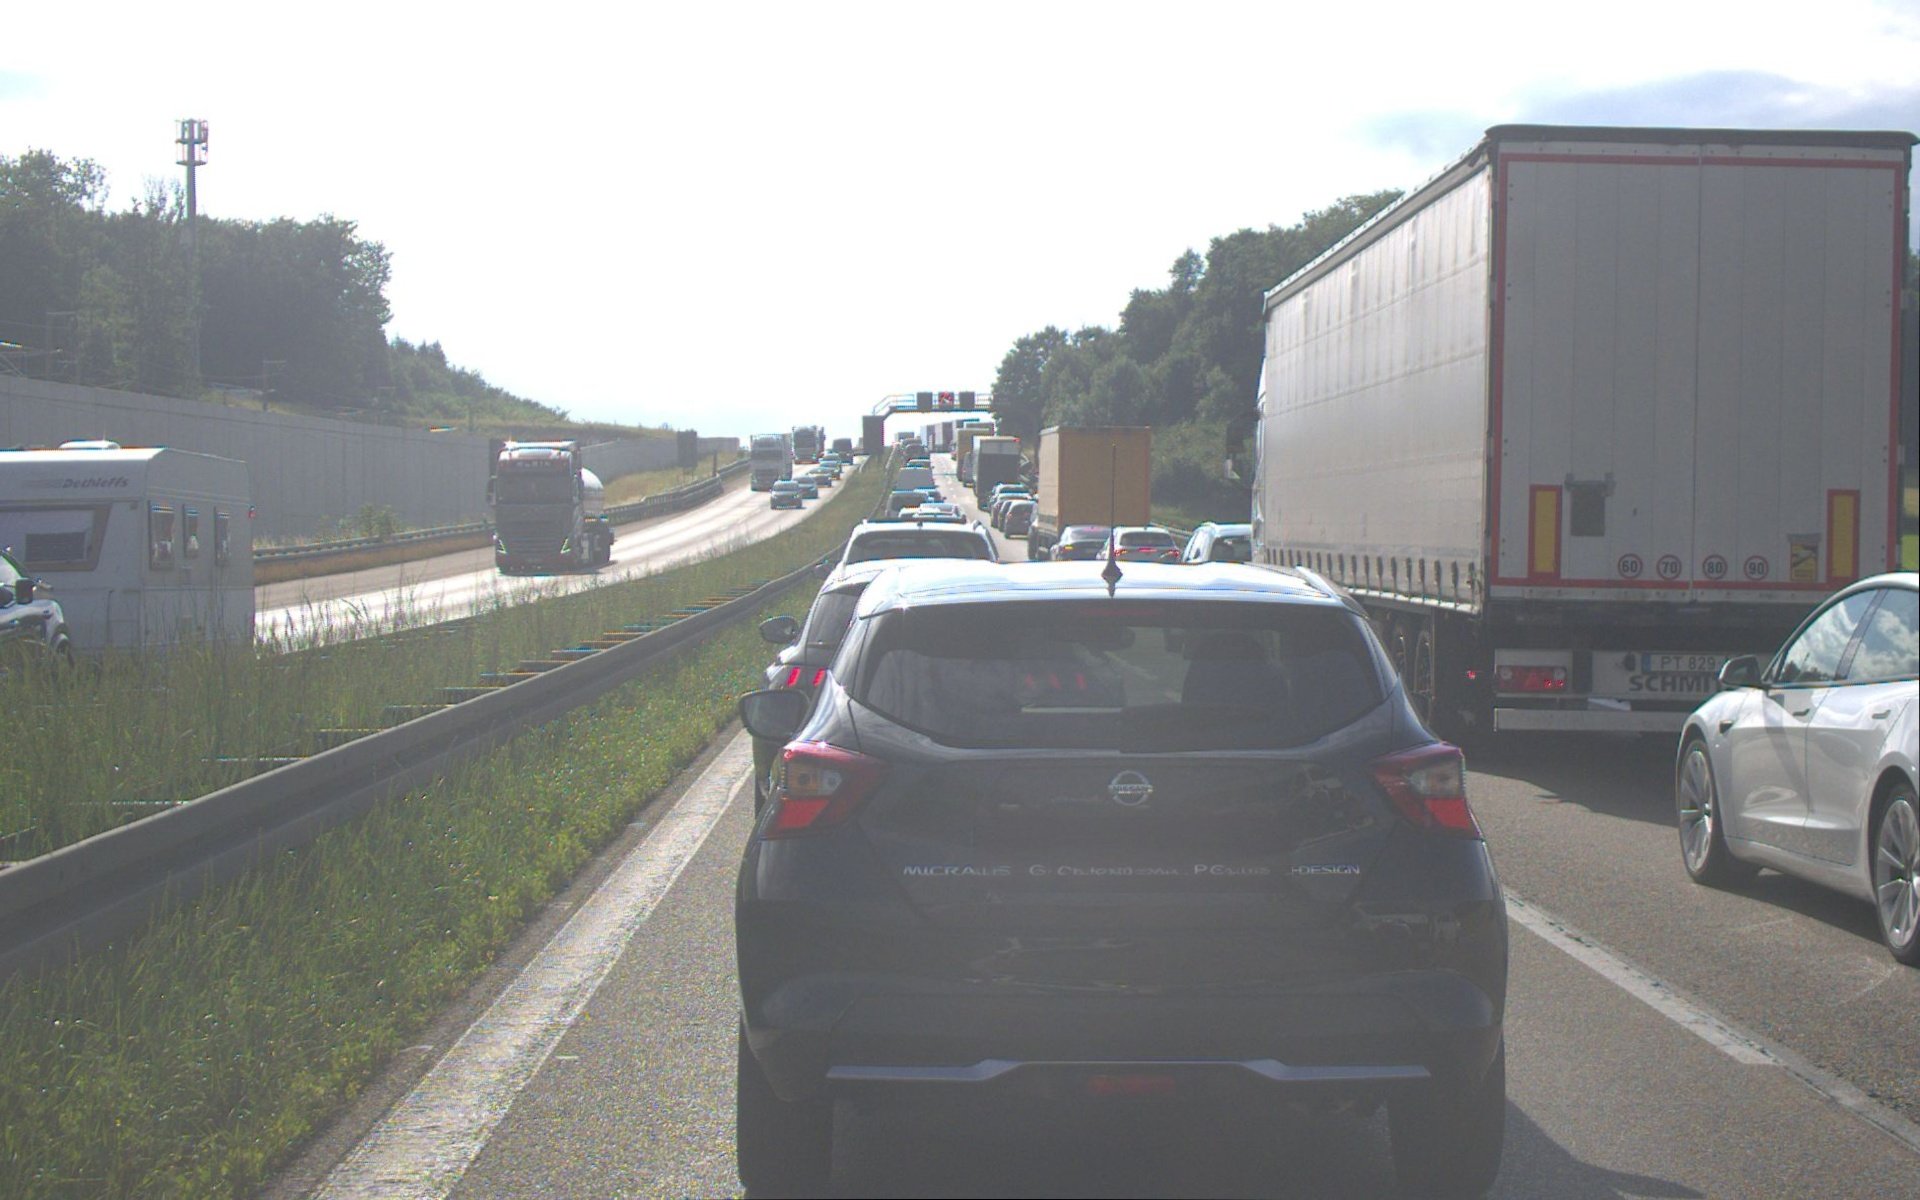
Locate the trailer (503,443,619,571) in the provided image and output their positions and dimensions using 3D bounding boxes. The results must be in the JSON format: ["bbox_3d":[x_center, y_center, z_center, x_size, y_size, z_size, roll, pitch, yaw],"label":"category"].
[{"bbox_3d":[-12.811,-2.941,111.168,2.588,3.888,10.865,-1,1,-1],"label":"trailer"}]

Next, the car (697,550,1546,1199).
[{"bbox_3d":[0.322,0.593,9.304,1.773,1.446,4.232,0,1,0],"label":"car"}]

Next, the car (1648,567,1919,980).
[{"bbox_3d":[4.139,0.590,13.521,1.788,1.389,4.437,0,1,-3],"label":"car"}]

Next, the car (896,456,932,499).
[{"bbox_3d":[-2.414,-6.485,181.895,1.873,2.151,5.212,0,4,-1],"label":"car"}]

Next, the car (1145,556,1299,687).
[{"bbox_3d":[3.346,0.234,44.514,1.697,1.605,4.437,0,1,1],"label":"car"}]

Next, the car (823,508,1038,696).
[{"bbox_3d":[-0.276,-0.012,32.126,1.873,1.638,4.232,0,1,0],"label":"car"}]

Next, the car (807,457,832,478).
[{"bbox_3d":[-10.561,-9.969,258.444,1.769,1.474,3.829,0,1,0],"label":"car"}]

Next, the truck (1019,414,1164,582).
[{"bbox_3d":[3.715,-2.845,100.679,3.296,4.562,12.442,1,0,-2],"label":"truck"}]

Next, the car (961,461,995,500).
[{"bbox_3d":[1.045,-6.954,199.885,1.873,2.151,5.212,0,4,-1],"label":"car"}]

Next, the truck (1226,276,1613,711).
[{"bbox_3d":[4.459,-0.994,34.459,3.133,4.002,5.163,1,0,0],"label":"truck"}]

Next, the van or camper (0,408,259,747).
[{"bbox_3d":[-8.097,-0.228,30.922,2.252,2.694,7.171,0,1,-1],"label":"van or camper"}]

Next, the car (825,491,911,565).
[{"bbox_3d":[-2.075,-1.670,78.525,1.873,1.638,4.233,0,2,0],"label":"car"}]

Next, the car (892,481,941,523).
[{"bbox_3d":[-1.758,-3.962,138.342,1.873,1.638,4.233,0,2,-2],"label":"car"}]

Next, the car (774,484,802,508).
[{"bbox_3d":[-11.473,-6.929,229.333,1.697,1.494,4.427,0,1,-1],"label":"car"}]

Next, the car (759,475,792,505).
[{"bbox_3d":[-11.082,-6.614,206.992,1.781,1.731,4.102,0,1,0],"label":"car"}]

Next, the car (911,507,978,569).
[{"bbox_3d":[-0.447,-1.785,97.954,1.873,1.638,4.233,0,2,0],"label":"car"}]

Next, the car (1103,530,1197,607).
[{"bbox_3d":[4.273,-0.730,77.894,1.873,1.638,4.233,0,2,0],"label":"car"}]

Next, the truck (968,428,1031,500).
[{"bbox_3d":[2.538,-8.900,225.789,3.464,4.561,12.443,1,2,-2],"label":"truck"}]

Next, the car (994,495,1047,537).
[{"bbox_3d":[2.496,-3.510,143.103,1.873,1.638,4.233,0,2,-4],"label":"car"}]

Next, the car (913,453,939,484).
[{"bbox_3d":[-2.491,-9.669,251.932,1.873,2.151,5.212,0,4,-1],"label":"car"}]

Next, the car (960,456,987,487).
[{"bbox_3d":[0.979,-9.534,255.198,1.873,2.151,5.212,0,4,-1],"label":"car"}]

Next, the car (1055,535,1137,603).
[{"bbox_3d":[3.427,-0.808,87.221,1.873,1.638,4.232,0,1,0],"label":"car"}]

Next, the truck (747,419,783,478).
[{"bbox_3d":[-14.428,-11.203,254.429,2.380,4.167,5.932,-1,1,-1],"label":"truck"}]

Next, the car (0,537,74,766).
[{"bbox_3d":[-7.959,0.378,25.131,1.910,1.666,4.362,0,1,-1],"label":"car"}]

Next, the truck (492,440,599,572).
[{"bbox_3d":[-12.741,-2.868,106.026,2.582,3.909,5.722,-1,1,-1],"label":"truck"}]

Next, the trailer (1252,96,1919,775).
[{"bbox_3d":[4.469,-0.973,27.076,3.130,3.997,13.366,1,0,0],"label":"trailer"}]

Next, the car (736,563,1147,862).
[{"bbox_3d":[-0.101,0.492,17.842,1.873,1.353,4.232,0,1,0],"label":"car"}]
